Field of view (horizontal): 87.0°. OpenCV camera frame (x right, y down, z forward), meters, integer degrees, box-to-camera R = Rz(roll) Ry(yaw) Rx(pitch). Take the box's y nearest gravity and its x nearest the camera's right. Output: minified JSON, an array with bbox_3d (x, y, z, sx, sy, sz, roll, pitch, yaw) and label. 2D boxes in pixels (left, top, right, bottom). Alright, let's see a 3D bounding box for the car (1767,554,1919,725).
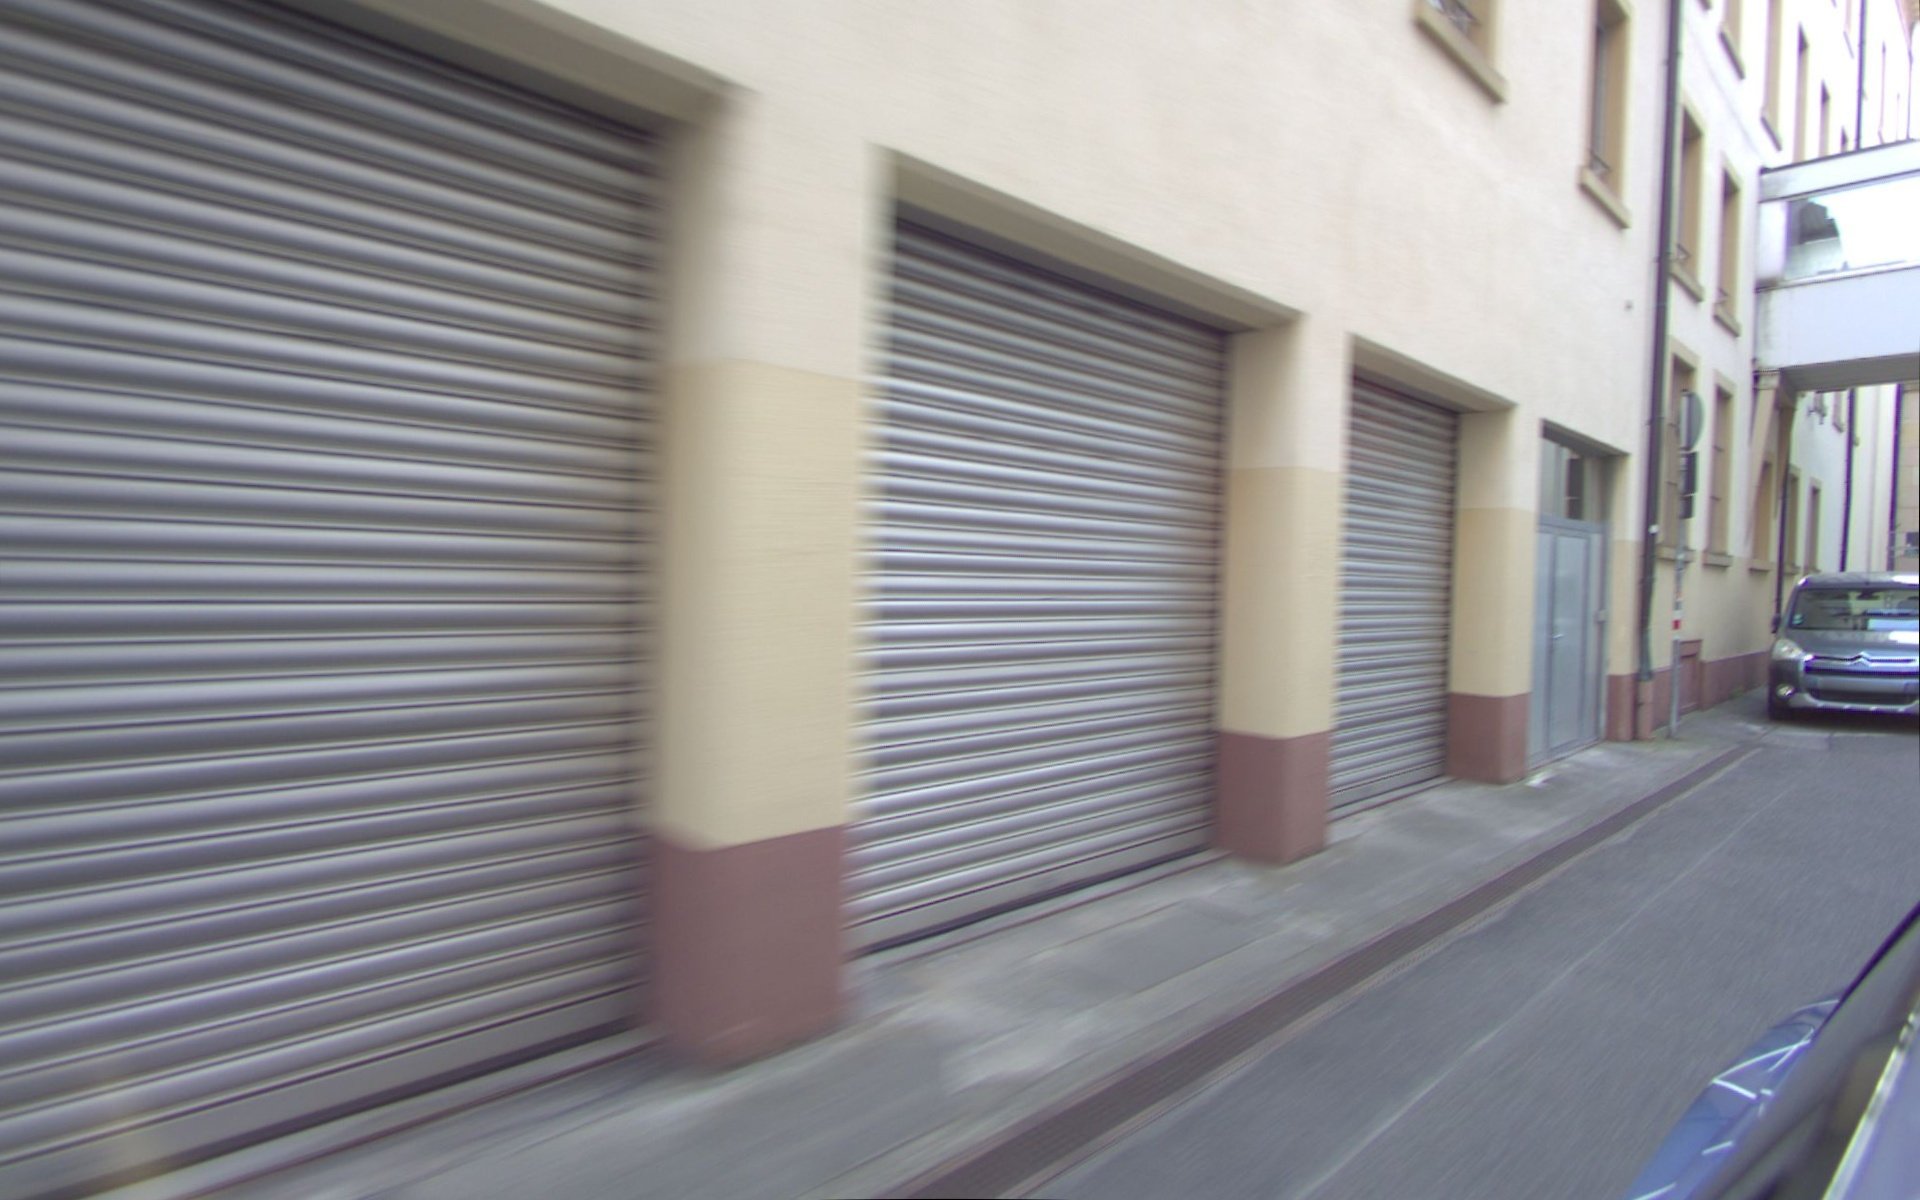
[{"bbox_3d":[11.441,0.392,12.520,4.672,1.789,1.761,0,1,-45],"label":"car"}]
